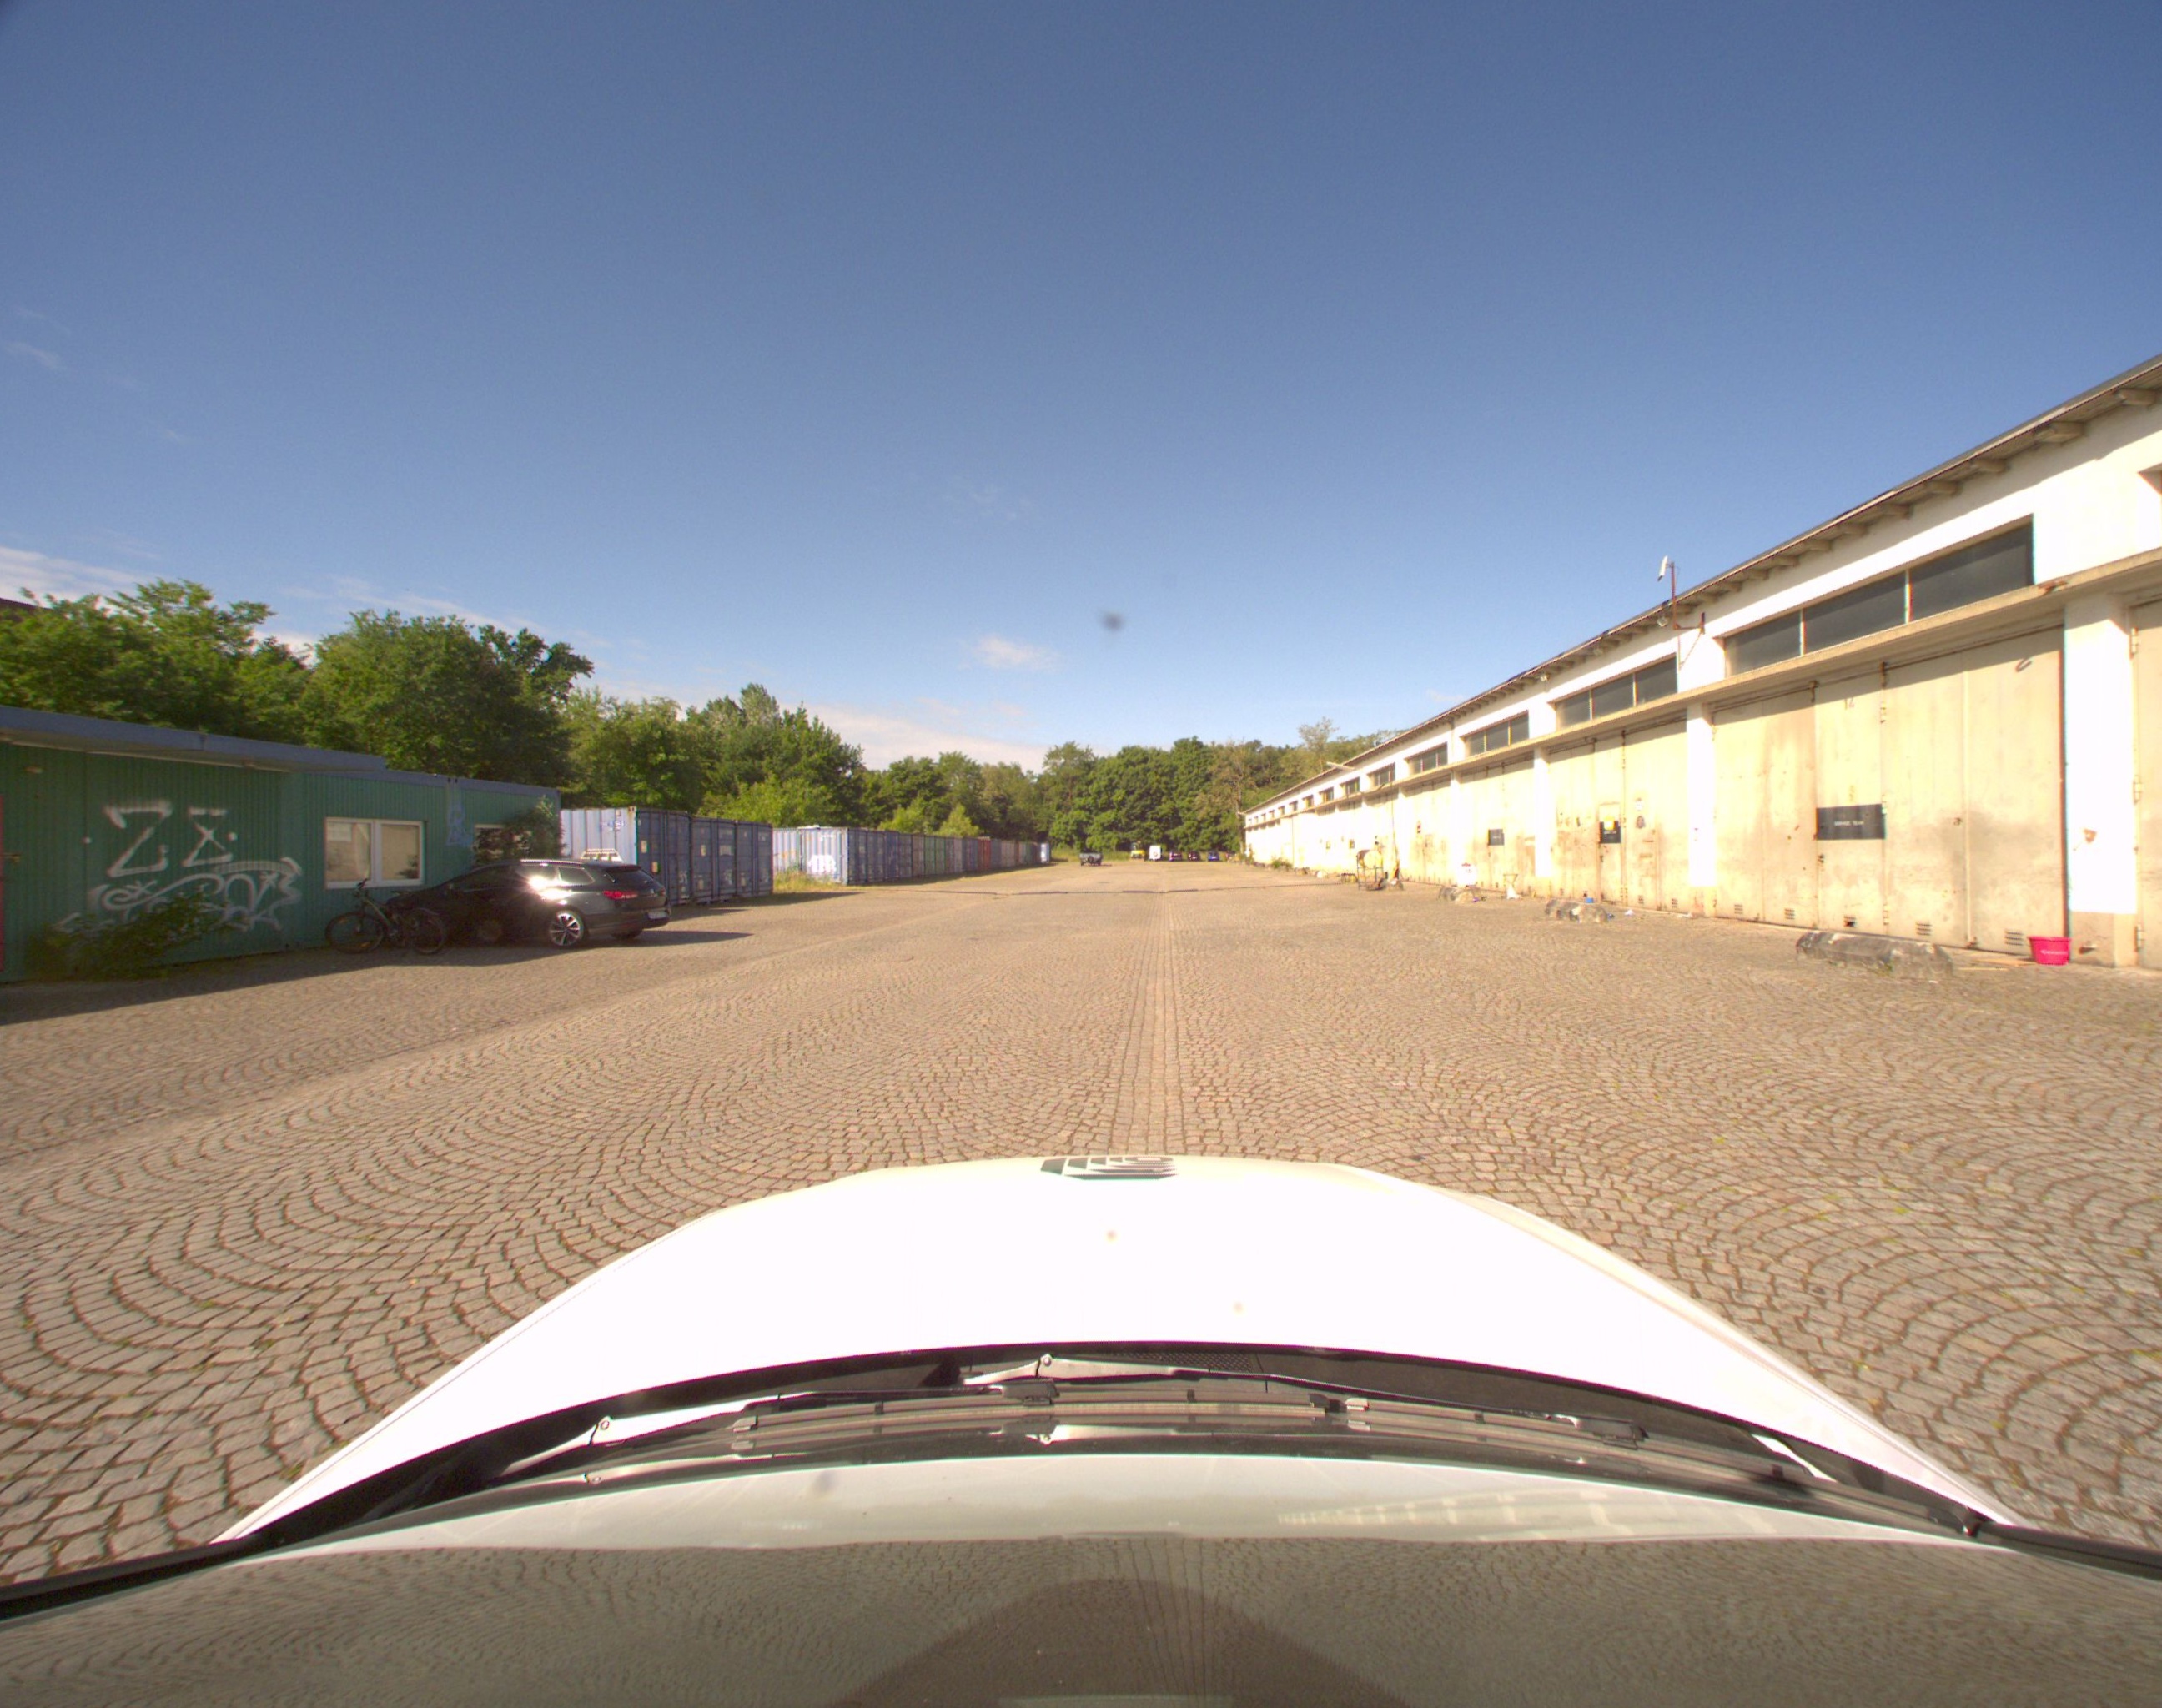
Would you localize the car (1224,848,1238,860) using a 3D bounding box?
[{"bbox_3d":[20.503,0.036,111.016,1.674,1.563,4.014,-1,0,13],"label":"car"}]

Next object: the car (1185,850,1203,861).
[{"bbox_3d":[15.312,0.169,110.120,1.980,1.462,4.014,-1,0,13],"label":"car"}]

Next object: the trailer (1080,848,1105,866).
[{"bbox_3d":[1.350,0.354,93.644,2.394,2.013,4.182,1,0,8],"label":"trailer"}]

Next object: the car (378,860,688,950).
[{"bbox_3d":[-9.108,0.813,13.785,4.037,1.413,1.731,0,0,-1],"label":"car"}]

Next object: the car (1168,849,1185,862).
[{"bbox_3d":[12.904,0.173,110.142,1.849,1.585,4.014,-1,0,13],"label":"car"}]

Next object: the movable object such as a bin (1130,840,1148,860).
[{"bbox_3d":[8.011,-0.553,112.567,1.981,2.618,4.011,1,0,10],"label":"movable object such as a bin"}]

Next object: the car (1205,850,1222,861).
[{"bbox_3d":[17.922,0.153,109.885,1.980,1.420,4.014,-1,0,13],"label":"car"}]

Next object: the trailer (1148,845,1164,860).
[{"bbox_3d":[10.367,-0.200,112.077,1.783,2.090,3.982,-1,0,10],"label":"trailer"}]

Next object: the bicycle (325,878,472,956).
[{"bbox_3d":[-10.264,0.927,12.269,1.700,1.101,0.675,1,0,5],"label":"bicycle"}]

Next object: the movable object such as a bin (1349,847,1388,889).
[{"bbox_3d":[9.367,0.453,26.582,0.820,1.331,1.280,-1,0,1],"label":"movable object such as a bin"}]
